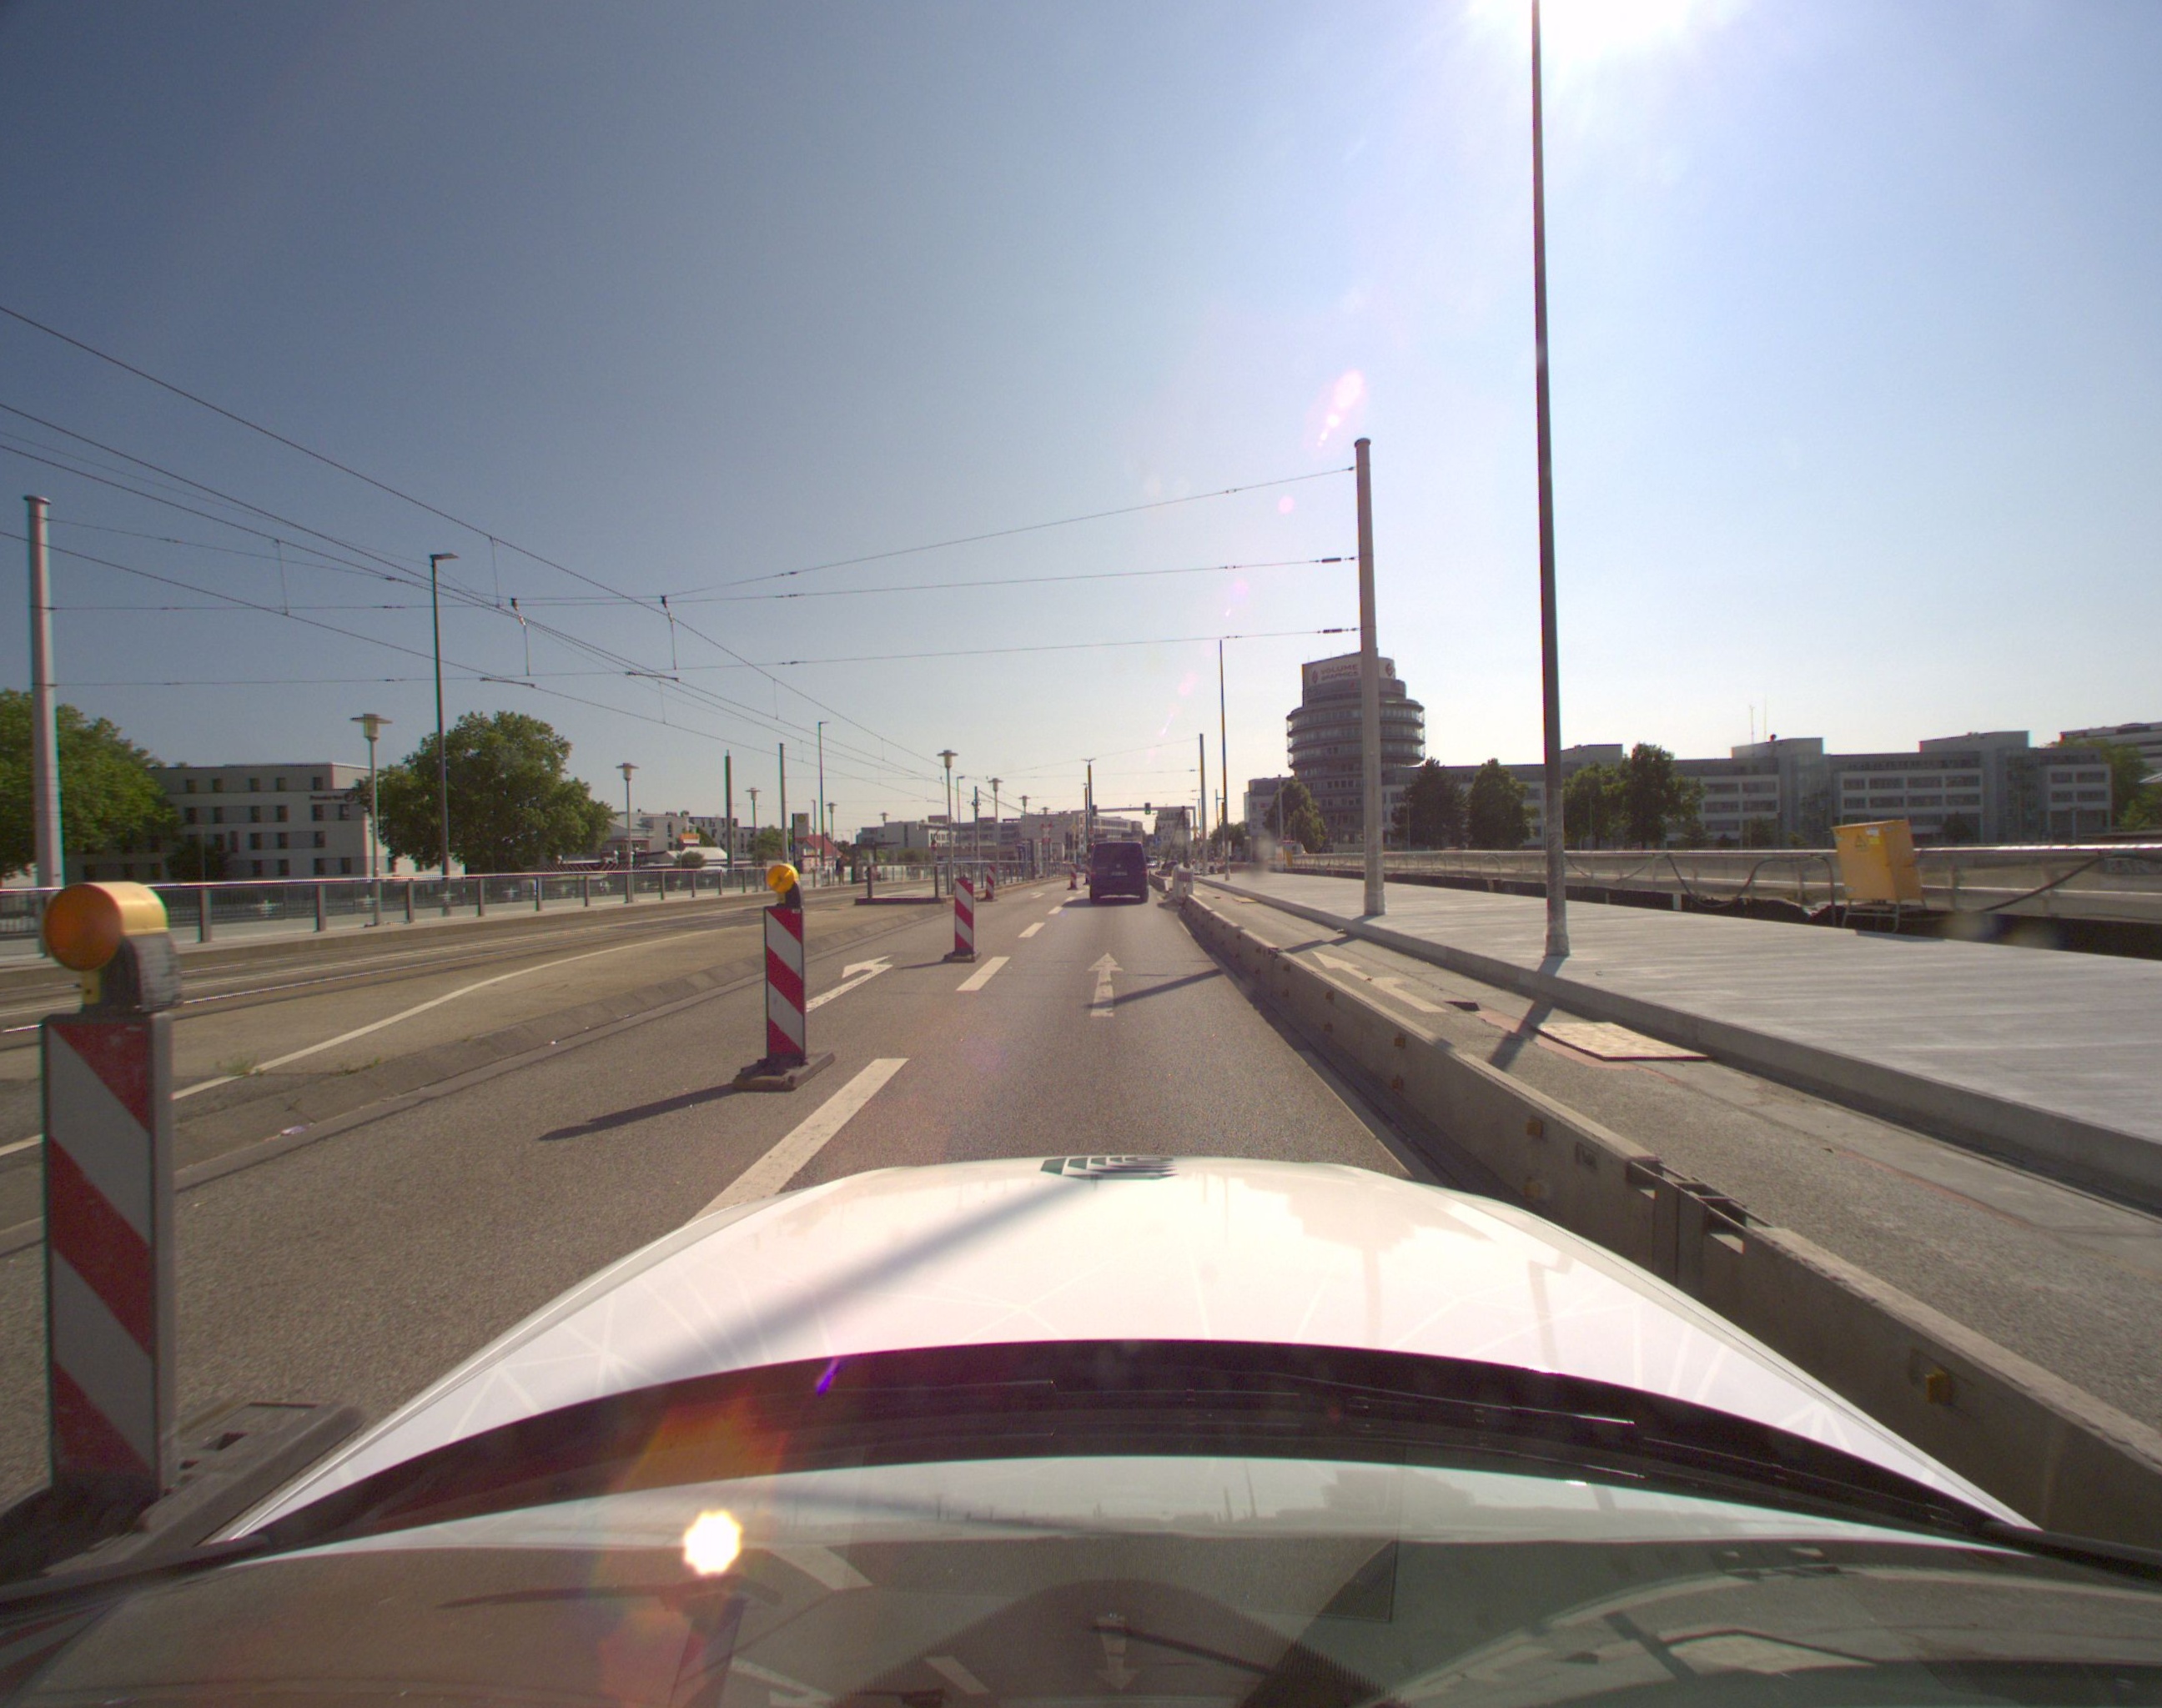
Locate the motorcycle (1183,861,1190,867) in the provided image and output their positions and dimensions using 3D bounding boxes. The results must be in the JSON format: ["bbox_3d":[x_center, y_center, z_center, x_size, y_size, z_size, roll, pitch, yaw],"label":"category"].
[{"bbox_3d":[23.177,2.200,178.619,1.154,1.242,3.017,0,1,12],"label":"motorcycle"}]

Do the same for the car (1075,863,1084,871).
[{"bbox_3d":[-0.286,2.518,162.280,1.740,1.486,4.002,-2,0,3],"label":"car"}]

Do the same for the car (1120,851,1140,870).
[{"bbox_3d":[4.549,0.553,74.508,1.637,1.728,4.007,0,0,6],"label":"car"}]

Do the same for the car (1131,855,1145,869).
[{"bbox_3d":[7.083,0.989,101.149,1.637,1.728,3.723,0,0,6],"label":"car"}]

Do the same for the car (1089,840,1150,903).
[{"bbox_3d":[1.228,0.521,27.101,1.881,1.934,4.001,0,0,1],"label":"car"}]

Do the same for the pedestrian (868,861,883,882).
[{"bbox_3d":[-12.499,1.073,49.590,0.645,1.274,0.698,-1,0,6],"label":"pedestrian"}]

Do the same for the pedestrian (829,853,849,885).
[{"bbox_3d":[-12.458,0.765,41.980,0.655,1.654,0.742,-2,0,14],"label":"pedestrian"}]

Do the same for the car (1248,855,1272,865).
[{"bbox_3d":[30.601,1.019,139.585,3.796,1.797,1.683,0,1,4],"label":"car"}]

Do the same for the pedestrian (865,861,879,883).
[{"bbox_3d":[-12.568,1.076,49.003,0.645,1.274,0.454,-1,0,6],"label":"pedestrian"}]

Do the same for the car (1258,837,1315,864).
[{"bbox_3d":[23.280,-0.422,92.210,5.961,2.887,2.335,-1,1,-15],"label":"car"}]

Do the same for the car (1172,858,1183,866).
[{"bbox_3d":[16.600,1.369,140.520,1.735,1.475,3.891,-1,-1,6],"label":"car"}]
